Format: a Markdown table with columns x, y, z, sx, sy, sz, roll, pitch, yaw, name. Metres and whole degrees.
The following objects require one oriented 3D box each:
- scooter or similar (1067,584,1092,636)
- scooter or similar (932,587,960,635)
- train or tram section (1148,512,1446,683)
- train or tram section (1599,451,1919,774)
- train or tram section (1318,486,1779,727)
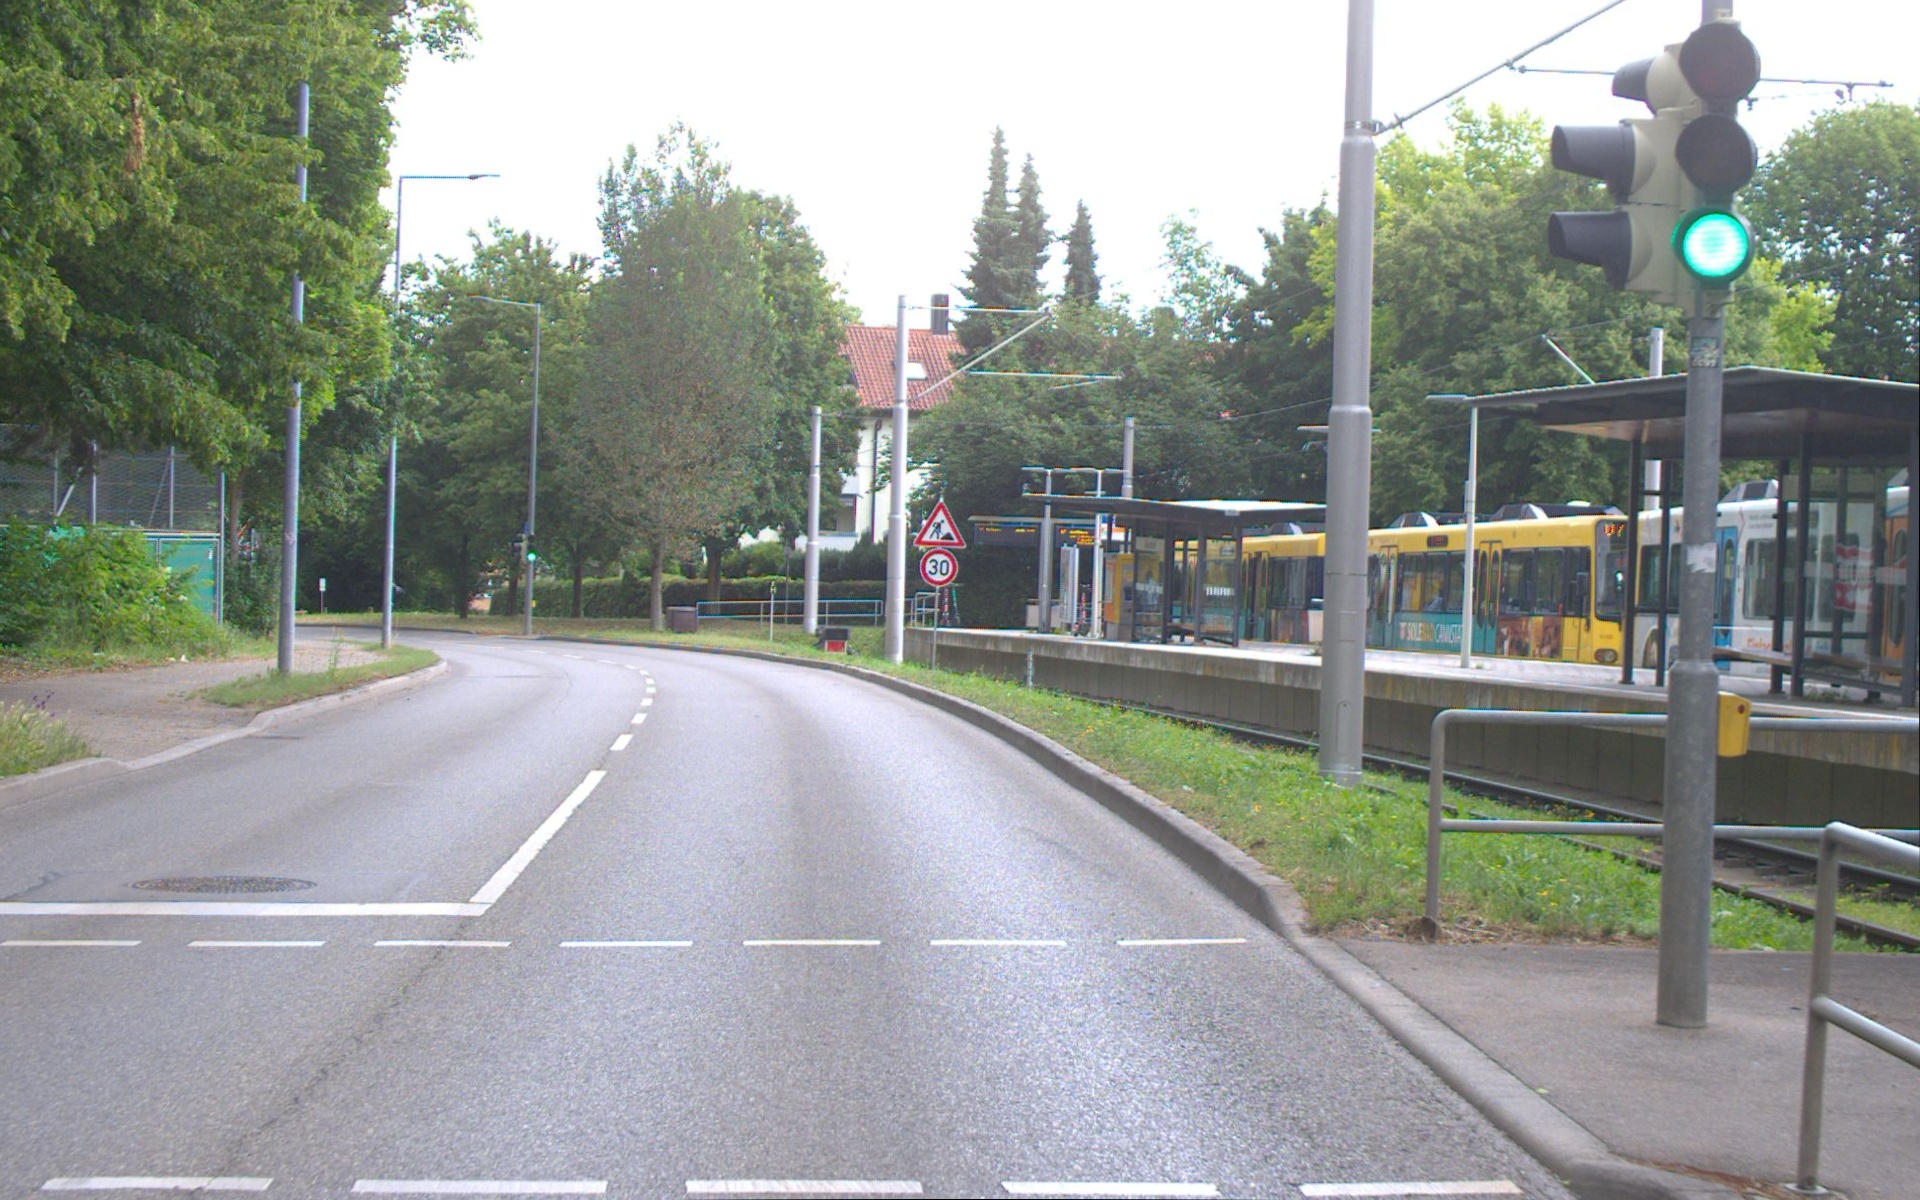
| x | y | z | sx | sy | sz | roll | pitch | yaw | name |
| --- | --- | --- | --- | --- | --- | --- | --- | --- | --- |
| 2.878 | 0.237 | 82.897 | 0.368 | 1.238 | 1.146 | 1 | 0 | -8 | scooter or similar |
| -0.378 | 0.301 | 92.527 | 0.429 | 1.249 | 1.255 | 1 | -2 | -17 | scooter or similar |
| 7.843 | -0.123 | 84.218 | 2.813 | 3.576 | 19.518 | 3 | 0 | -7 | train or tram section |
| 12.339 | 0.180 | 46.079 | 2.813 | 3.786 | 18.935 | 3 | 0 | -3 | train or tram section |
| 10.454 | 0.038 | 64.764 | 2.813 | 3.724 | 19.518 | 3 | 0 | -7 | train or tram section |
